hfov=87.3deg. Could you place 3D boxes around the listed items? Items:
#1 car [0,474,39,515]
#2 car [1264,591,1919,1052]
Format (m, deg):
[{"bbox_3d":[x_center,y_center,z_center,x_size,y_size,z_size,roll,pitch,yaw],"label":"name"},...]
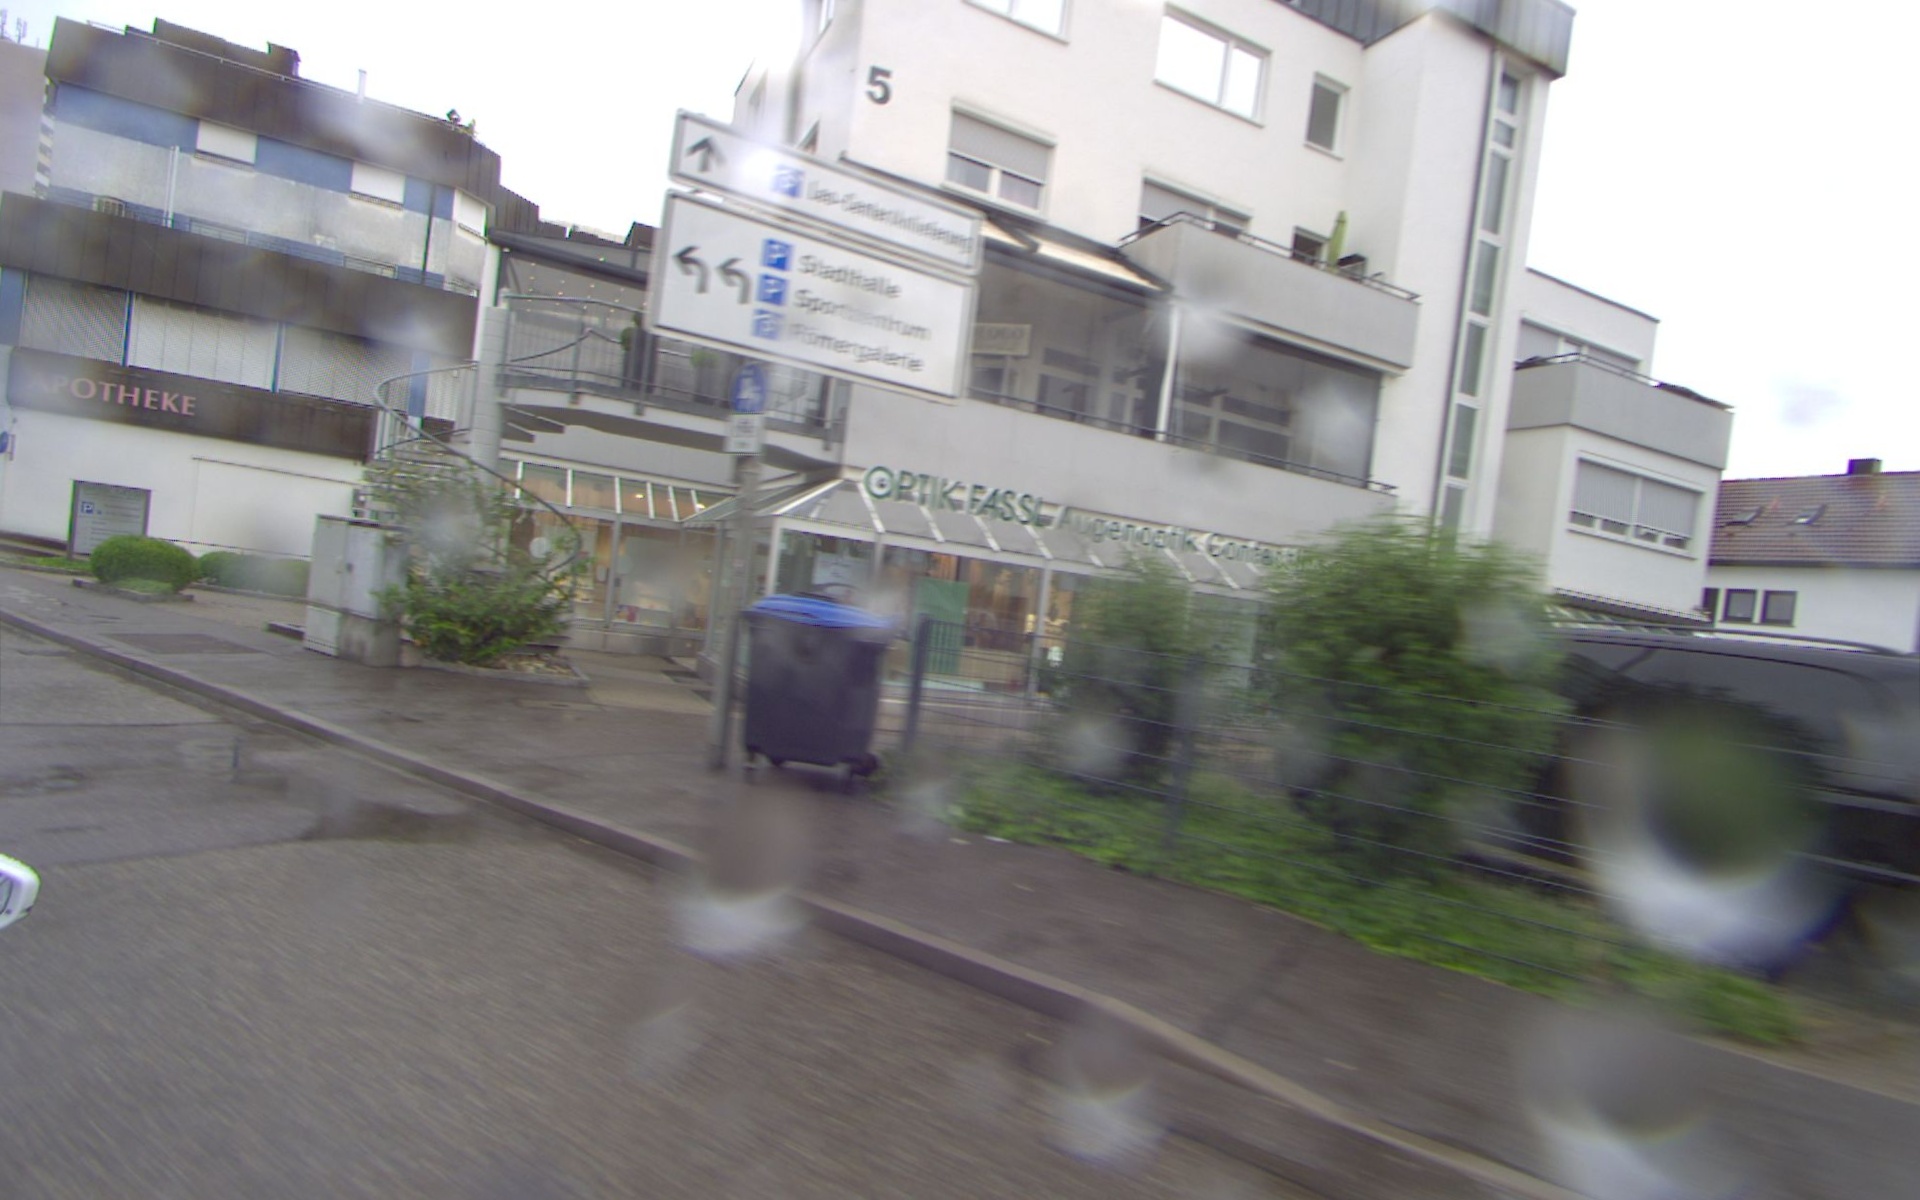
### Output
[{"bbox_3d":[-54.962,-6.167,56.707,3.932,2.038,1.997,7,0,-9],"label":"car"},{"bbox_3d":[4.721,1.167,7.369,1.974,2.039,4.751,7,0,-24],"label":"car"}]
